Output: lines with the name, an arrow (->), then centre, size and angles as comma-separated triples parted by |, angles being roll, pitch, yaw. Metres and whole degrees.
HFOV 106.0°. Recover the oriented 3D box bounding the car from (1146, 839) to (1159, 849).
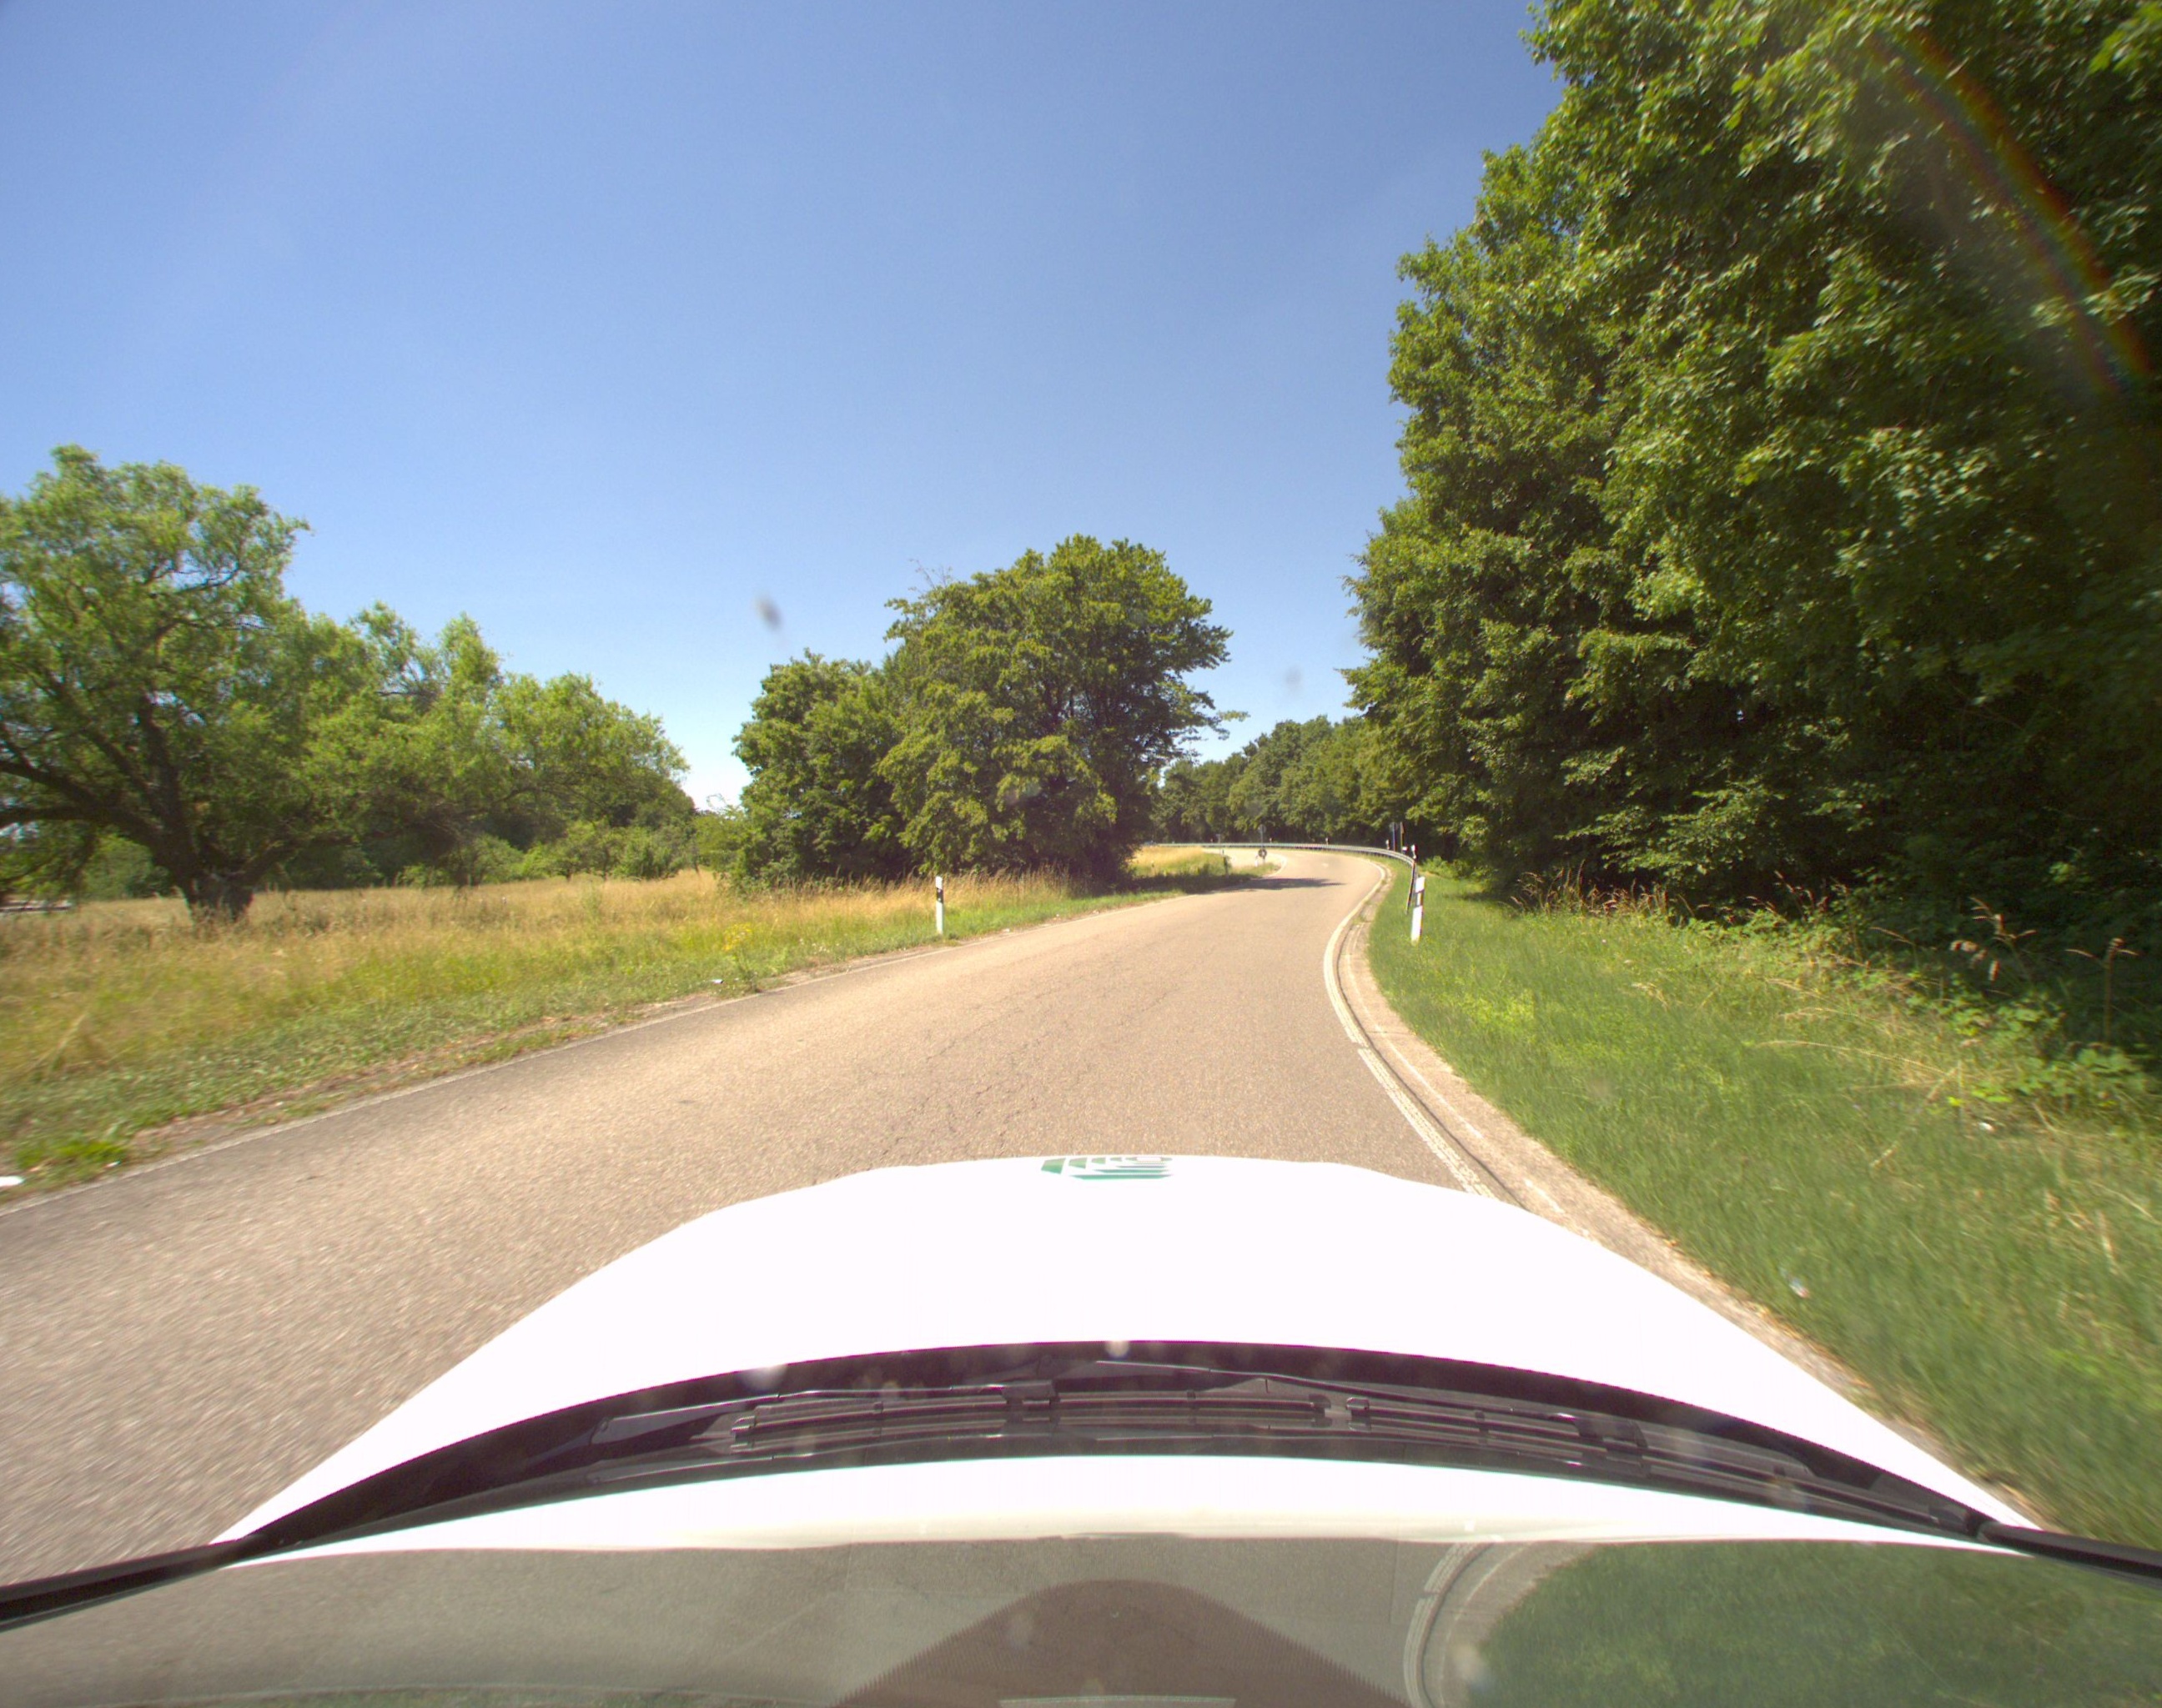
car -> 11.981, -1.689, 136.235 | 1.796, 1.506, 4.659 | -5, 0, 1
